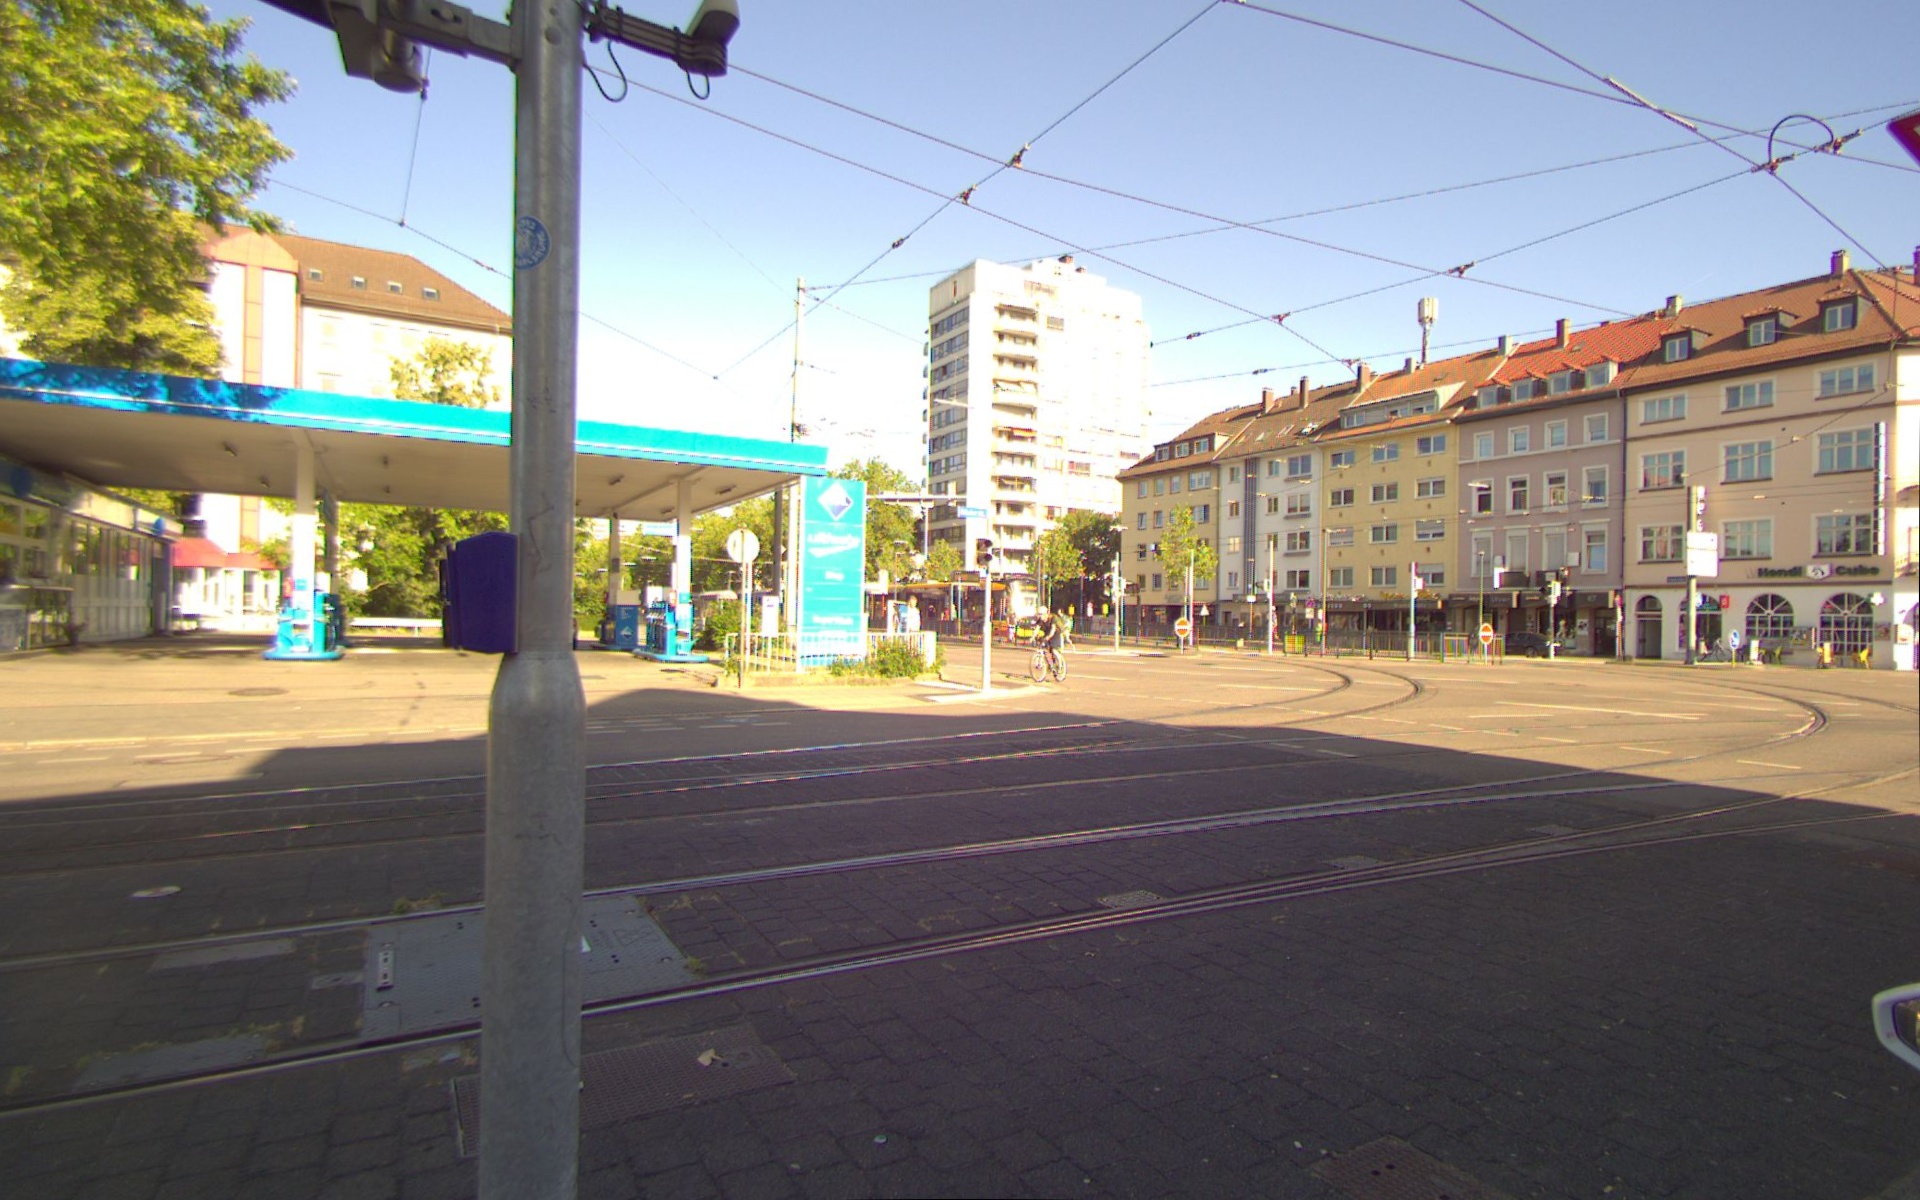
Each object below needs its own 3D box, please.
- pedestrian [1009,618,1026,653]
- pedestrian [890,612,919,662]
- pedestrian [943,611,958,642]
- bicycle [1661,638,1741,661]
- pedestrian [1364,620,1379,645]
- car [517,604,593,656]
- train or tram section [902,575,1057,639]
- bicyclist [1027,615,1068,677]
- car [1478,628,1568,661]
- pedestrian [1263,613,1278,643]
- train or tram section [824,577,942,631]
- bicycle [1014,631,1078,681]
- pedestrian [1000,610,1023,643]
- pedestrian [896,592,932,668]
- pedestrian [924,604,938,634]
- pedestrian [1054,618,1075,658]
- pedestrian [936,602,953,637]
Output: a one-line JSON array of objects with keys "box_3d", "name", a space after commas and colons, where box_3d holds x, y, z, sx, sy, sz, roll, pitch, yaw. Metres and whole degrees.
[{"box_3d": [2.816, 1.734, 49.081, 0.579, 1.686, 0.521, 2, 0, -29], "name": "pedestrian"}, {"box_3d": [-1.892, 1.256, 34.059, 0.675, 1.656, 0.694, 2, 0, -35], "name": "pedestrian"}, {"box_3d": [-0.482, 1.400, 53.340, 0.580, 1.613, 0.520, 2, 0, -31], "name": "pedestrian"}, {"box_3d": [37.503, 2.494, 50.902, 0.989, 0.993, 3.115, 2, 0, -29], "name": "bicycle"}, {"box_3d": [27.703, 2.160, 67.672, 0.693, 1.656, 0.629, 2, 0, -33], "name": "pedestrian"}, {"box_3d": [-12.160, 0.864, 30.033, 1.764, 1.411, 3.455, 2, 0, -28], "name": "car"}, {"box_3d": [0.740, 0.326, 57.555, 2.751, 3.273, 12.286, 2, 0, -31], "name": "train or tram section"}, {"box_3d": [2.024, 1.050, 23.104, 0.551, 1.384, 0.799, 2, 0, 39], "name": "bicyclist"}, {"box_3d": [30.858, 2.420, 55.146, 1.970, 1.692, 3.981, 1, -1, -21], "name": "car"}, {"box_3d": [17.047, 1.540, 55.131, 0.570, 1.649, 0.522, 2, 0, -31], "name": "pedestrian"}, {"box_3d": [-5.505, 0.201, 68.036, 2.751, 3.273, 12.286, 2, 0, -31], "name": "train or tram section"}, {"box_3d": [2.001, 1.257, 23.104, 0.566, 1.084, 1.787, 2, 0, 38], "name": "bicycle"}, {"box_3d": [2.442, 1.271, 47.699, 0.814, 1.532, 0.699, 1, -1, -33], "name": "pedestrian"}, {"box_3d": [-1.178, 0.764, 25.844, 0.778, 1.893, 0.674, 2, 0, 6], "name": "pedestrian"}, {"box_3d": [-1.626, 1.067, 56.149, 0.580, 1.613, 0.520, 2, 0, -31], "name": "pedestrian"}, {"box_3d": [4.219, 1.534, 40.601, 0.806, 1.608, 0.705, 1, -1, 3], "name": "pedestrian"}, {"box_3d": [-0.842, 1.059, 54.809, 0.666, 1.913, 0.520, 2, 0, -31], "name": "pedestrian"}]
